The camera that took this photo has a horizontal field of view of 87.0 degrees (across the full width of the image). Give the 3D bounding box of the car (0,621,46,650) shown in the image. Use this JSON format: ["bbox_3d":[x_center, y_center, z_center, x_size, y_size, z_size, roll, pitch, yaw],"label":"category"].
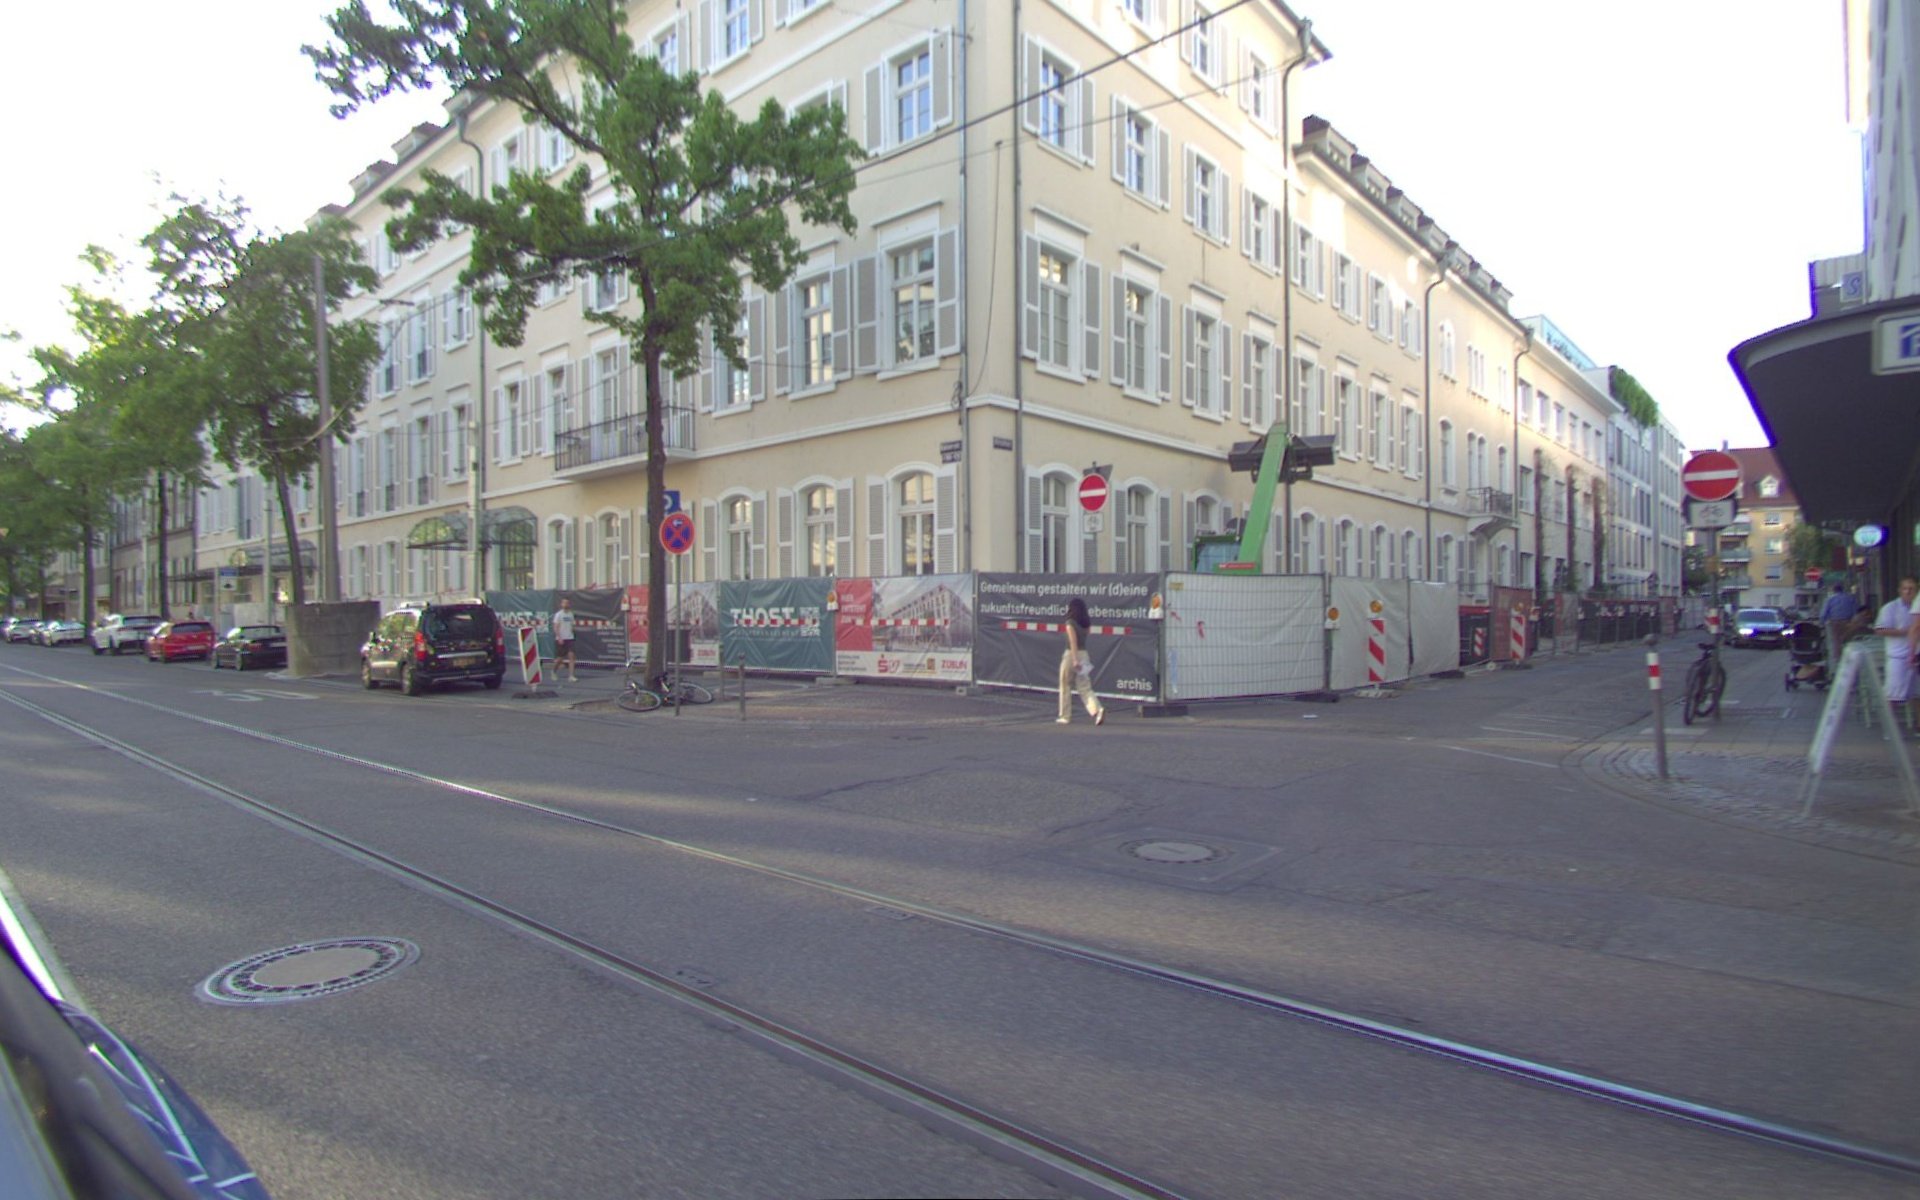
[{"bbox_3d":[-63.187,2.368,68.105,4.763,1.754,1.927,-2,1,42],"label":"car"}]

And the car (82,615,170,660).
[{"bbox_3d":[-35.286,1.561,42.770,4.945,1.701,1.848,-2,2,39],"label":"car"}]

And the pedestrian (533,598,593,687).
[{"bbox_3d":[-8.432,0.881,21.488,0.984,1.805,0.766,-2,1,43],"label":"pedestrian"}]

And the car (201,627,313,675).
[{"bbox_3d":[-21.269,1.487,30.542,4.506,1.254,1.700,-1,2,41],"label":"car"}]

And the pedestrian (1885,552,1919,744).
[{"bbox_3d":[9.202,0.429,9.216,0.860,1.754,0.792,-2,-2,23],"label":"pedestrian"}]

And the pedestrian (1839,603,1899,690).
[{"bbox_3d":[14.579,0.739,16.254,0.618,1.345,0.764,-4,-2,40],"label":"pedestrian"}]

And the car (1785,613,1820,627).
[{"bbox_3d":[84.870,1.976,101.978,1.992,1.364,3.960,-1,-1,30],"label":"car"}]

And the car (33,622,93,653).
[{"bbox_3d":[-48.792,2.007,55.019,4.615,1.477,1.872,-2,1,42],"label":"car"}]

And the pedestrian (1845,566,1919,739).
[{"bbox_3d":[9.360,0.489,9.832,0.861,1.627,0.791,-4,-2,25],"label":"pedestrian"}]

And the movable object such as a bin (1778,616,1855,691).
[{"bbox_3d":[13.680,0.845,16.190,0.856,1.123,1.103,-4,-2,40],"label":"movable object such as a bin"}]

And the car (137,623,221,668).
[{"bbox_3d":[-28.070,1.582,36.330,4.140,1.416,1.642,-1,2,43],"label":"car"}]

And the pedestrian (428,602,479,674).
[{"bbox_3d":[-13.200,0.971,26.392,0.884,1.795,0.856,-1,1,41],"label":"pedestrian"}]

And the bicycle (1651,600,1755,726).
[{"bbox_3d":[8.947,0.722,12.152,0.712,1.391,1.854,-5,-4,43],"label":"bicycle"}]

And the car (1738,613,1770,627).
[{"bbox_3d":[81.209,2.026,103.507,1.992,1.364,3.960,-1,-1,30],"label":"car"}]

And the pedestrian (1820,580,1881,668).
[{"bbox_3d":[19.457,0.511,22.121,0.932,1.868,0.806,-2,-1,45],"label":"pedestrian"}]

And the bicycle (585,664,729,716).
[{"bbox_3d":[-4.746,1.390,15.902,1.283,0.613,1.775,-2,0,45],"label":"bicycle"}]

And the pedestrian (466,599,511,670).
[{"bbox_3d":[-12.608,0.901,27.064,0.876,1.826,0.712,-1,1,41],"label":"pedestrian"}]

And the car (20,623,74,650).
[{"bbox_3d":[-54.513,2.178,60.413,4.338,1.477,1.724,-2,1,39],"label":"car"}]

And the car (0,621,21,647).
[{"bbox_3d":[-74.140,2.595,78.166,4.763,1.972,1.906,-2,-2,42],"label":"car"}]

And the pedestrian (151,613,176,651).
[{"bbox_3d":[-37.653,1.500,47.832,0.933,1.755,0.736,-1,1,42],"label":"pedestrian"}]

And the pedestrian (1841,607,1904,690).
[{"bbox_3d":[13.852,0.733,15.380,0.618,1.211,0.684,-4,-3,40],"label":"pedestrian"}]

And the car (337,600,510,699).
[{"bbox_3d":[-11.374,0.978,21.310,4.559,1.846,1.837,-1,0,43],"label":"car"}]

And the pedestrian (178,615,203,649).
[{"bbox_3d":[-36.978,1.539,48.605,0.933,1.592,0.736,-1,1,42],"label":"pedestrian"}]

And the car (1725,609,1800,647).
[{"bbox_3d":[30.337,1.034,38.372,1.996,1.364,3.951,-1,-1,36],"label":"car"}]

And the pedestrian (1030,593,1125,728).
[{"bbox_3d":[1.520,0.764,13.125,0.967,1.669,0.699,-3,-2,43],"label":"pedestrian"}]
